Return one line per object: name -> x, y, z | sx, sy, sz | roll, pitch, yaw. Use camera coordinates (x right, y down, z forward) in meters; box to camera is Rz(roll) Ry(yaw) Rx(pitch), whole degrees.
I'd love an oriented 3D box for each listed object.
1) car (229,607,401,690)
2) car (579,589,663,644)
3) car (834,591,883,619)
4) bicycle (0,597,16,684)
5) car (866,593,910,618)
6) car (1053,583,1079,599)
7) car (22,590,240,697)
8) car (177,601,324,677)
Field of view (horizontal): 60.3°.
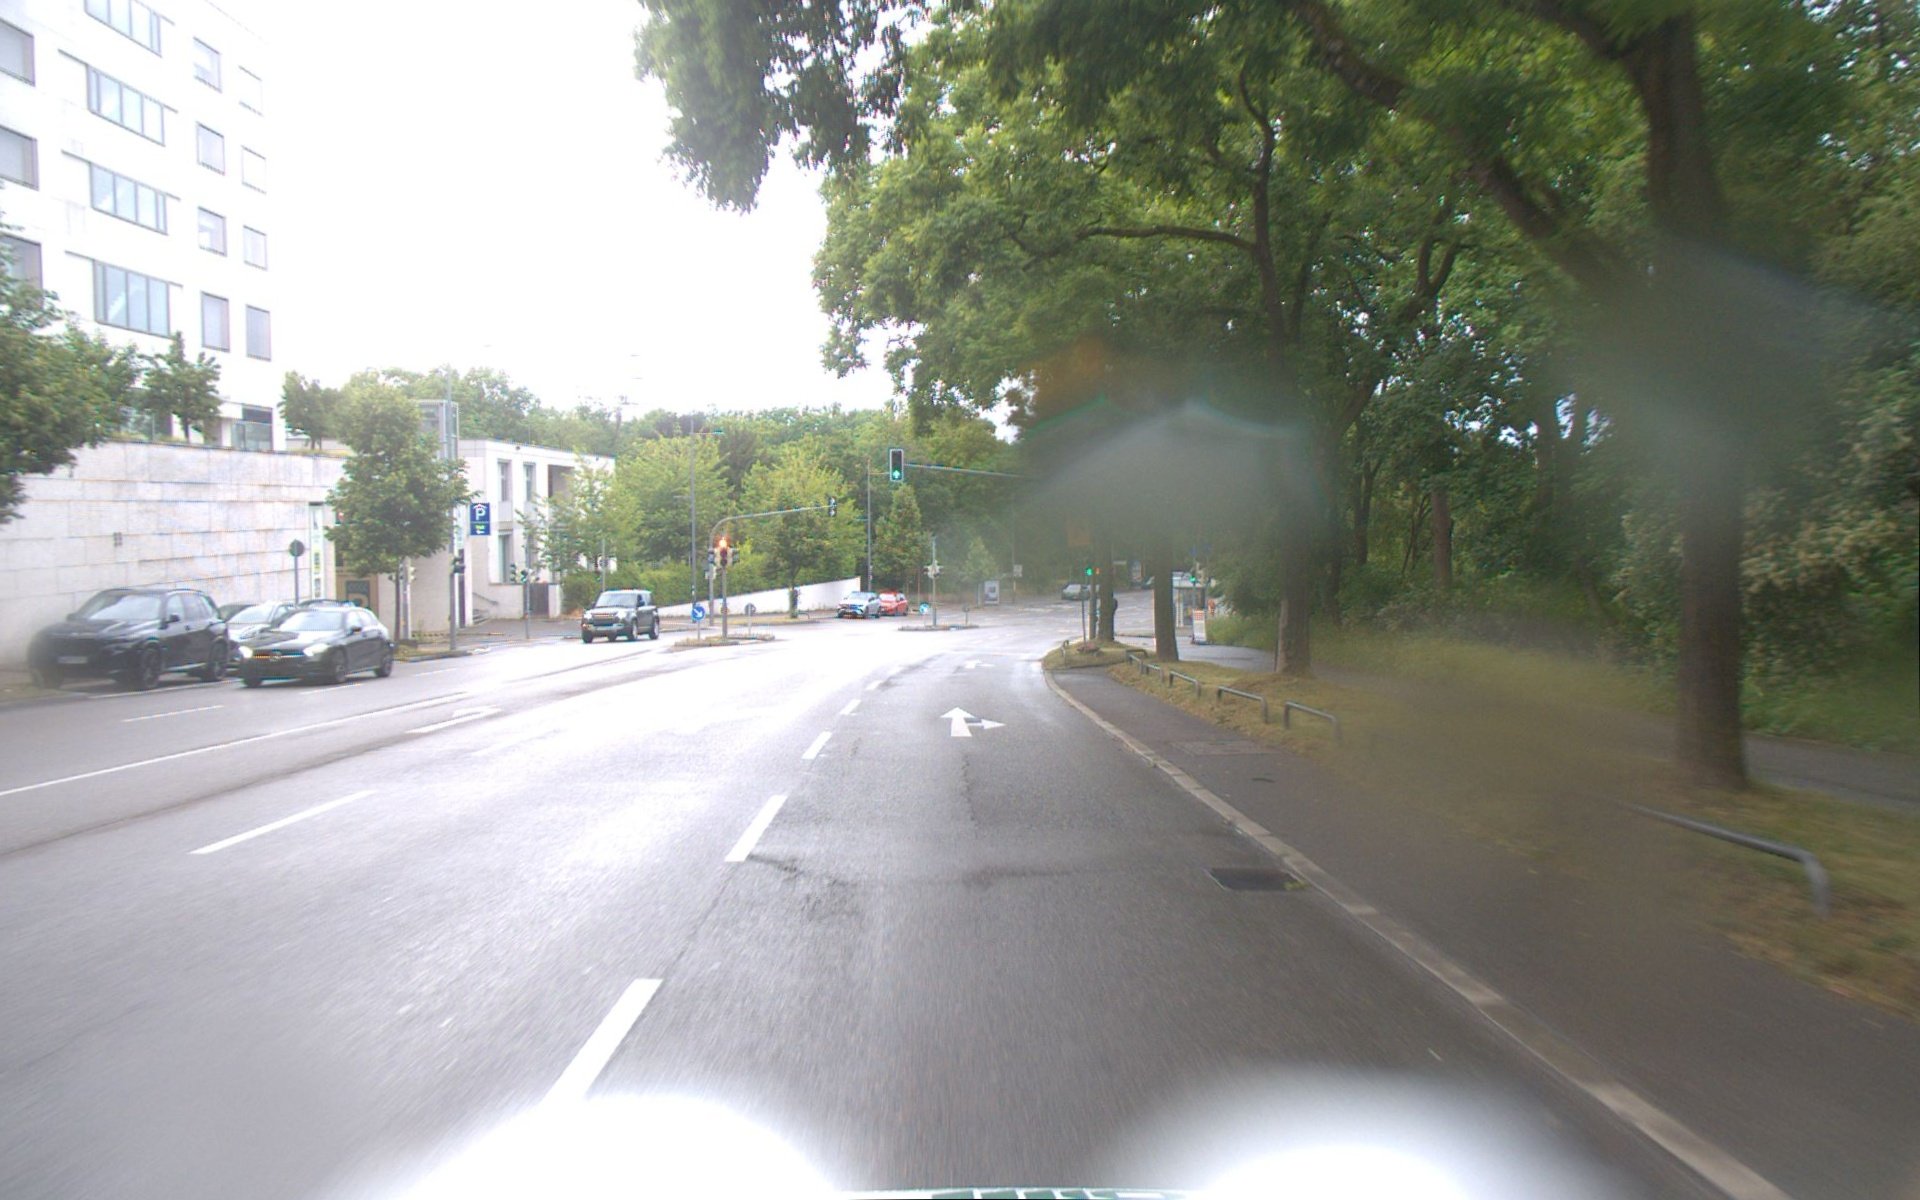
car -> -12.362, 0.884, 31.982 | 1.734, 1.405, 4.189 | -2, 0, -1
car -> -12.815, 0.594, 62.766 | 1.880, 1.889, 4.508 | -4, 0, 4
car -> -6.496, 0.314, 106.221 | 1.814, 1.668, 4.096 | 3, 1, 16
bicycle -> -18.957, 0.781, 31.651 | 0.727, 1.686, 1.880 | 0, 0, -1
car -> -4.883, 0.384, 113.379 | 1.835, 1.602, 4.226 | 3, 1, 14
car -> 10.641, -0.882, 165.694 | 1.677, 1.486, 3.752 | 1, 0, 17
car -> -15.093, 0.730, 30.414 | 1.819, 1.812, 4.595 | 0, 0, -2
car -> -15.367, 0.816, 36.009 | 1.645, 1.541, 3.709 | 1, 0, -1
